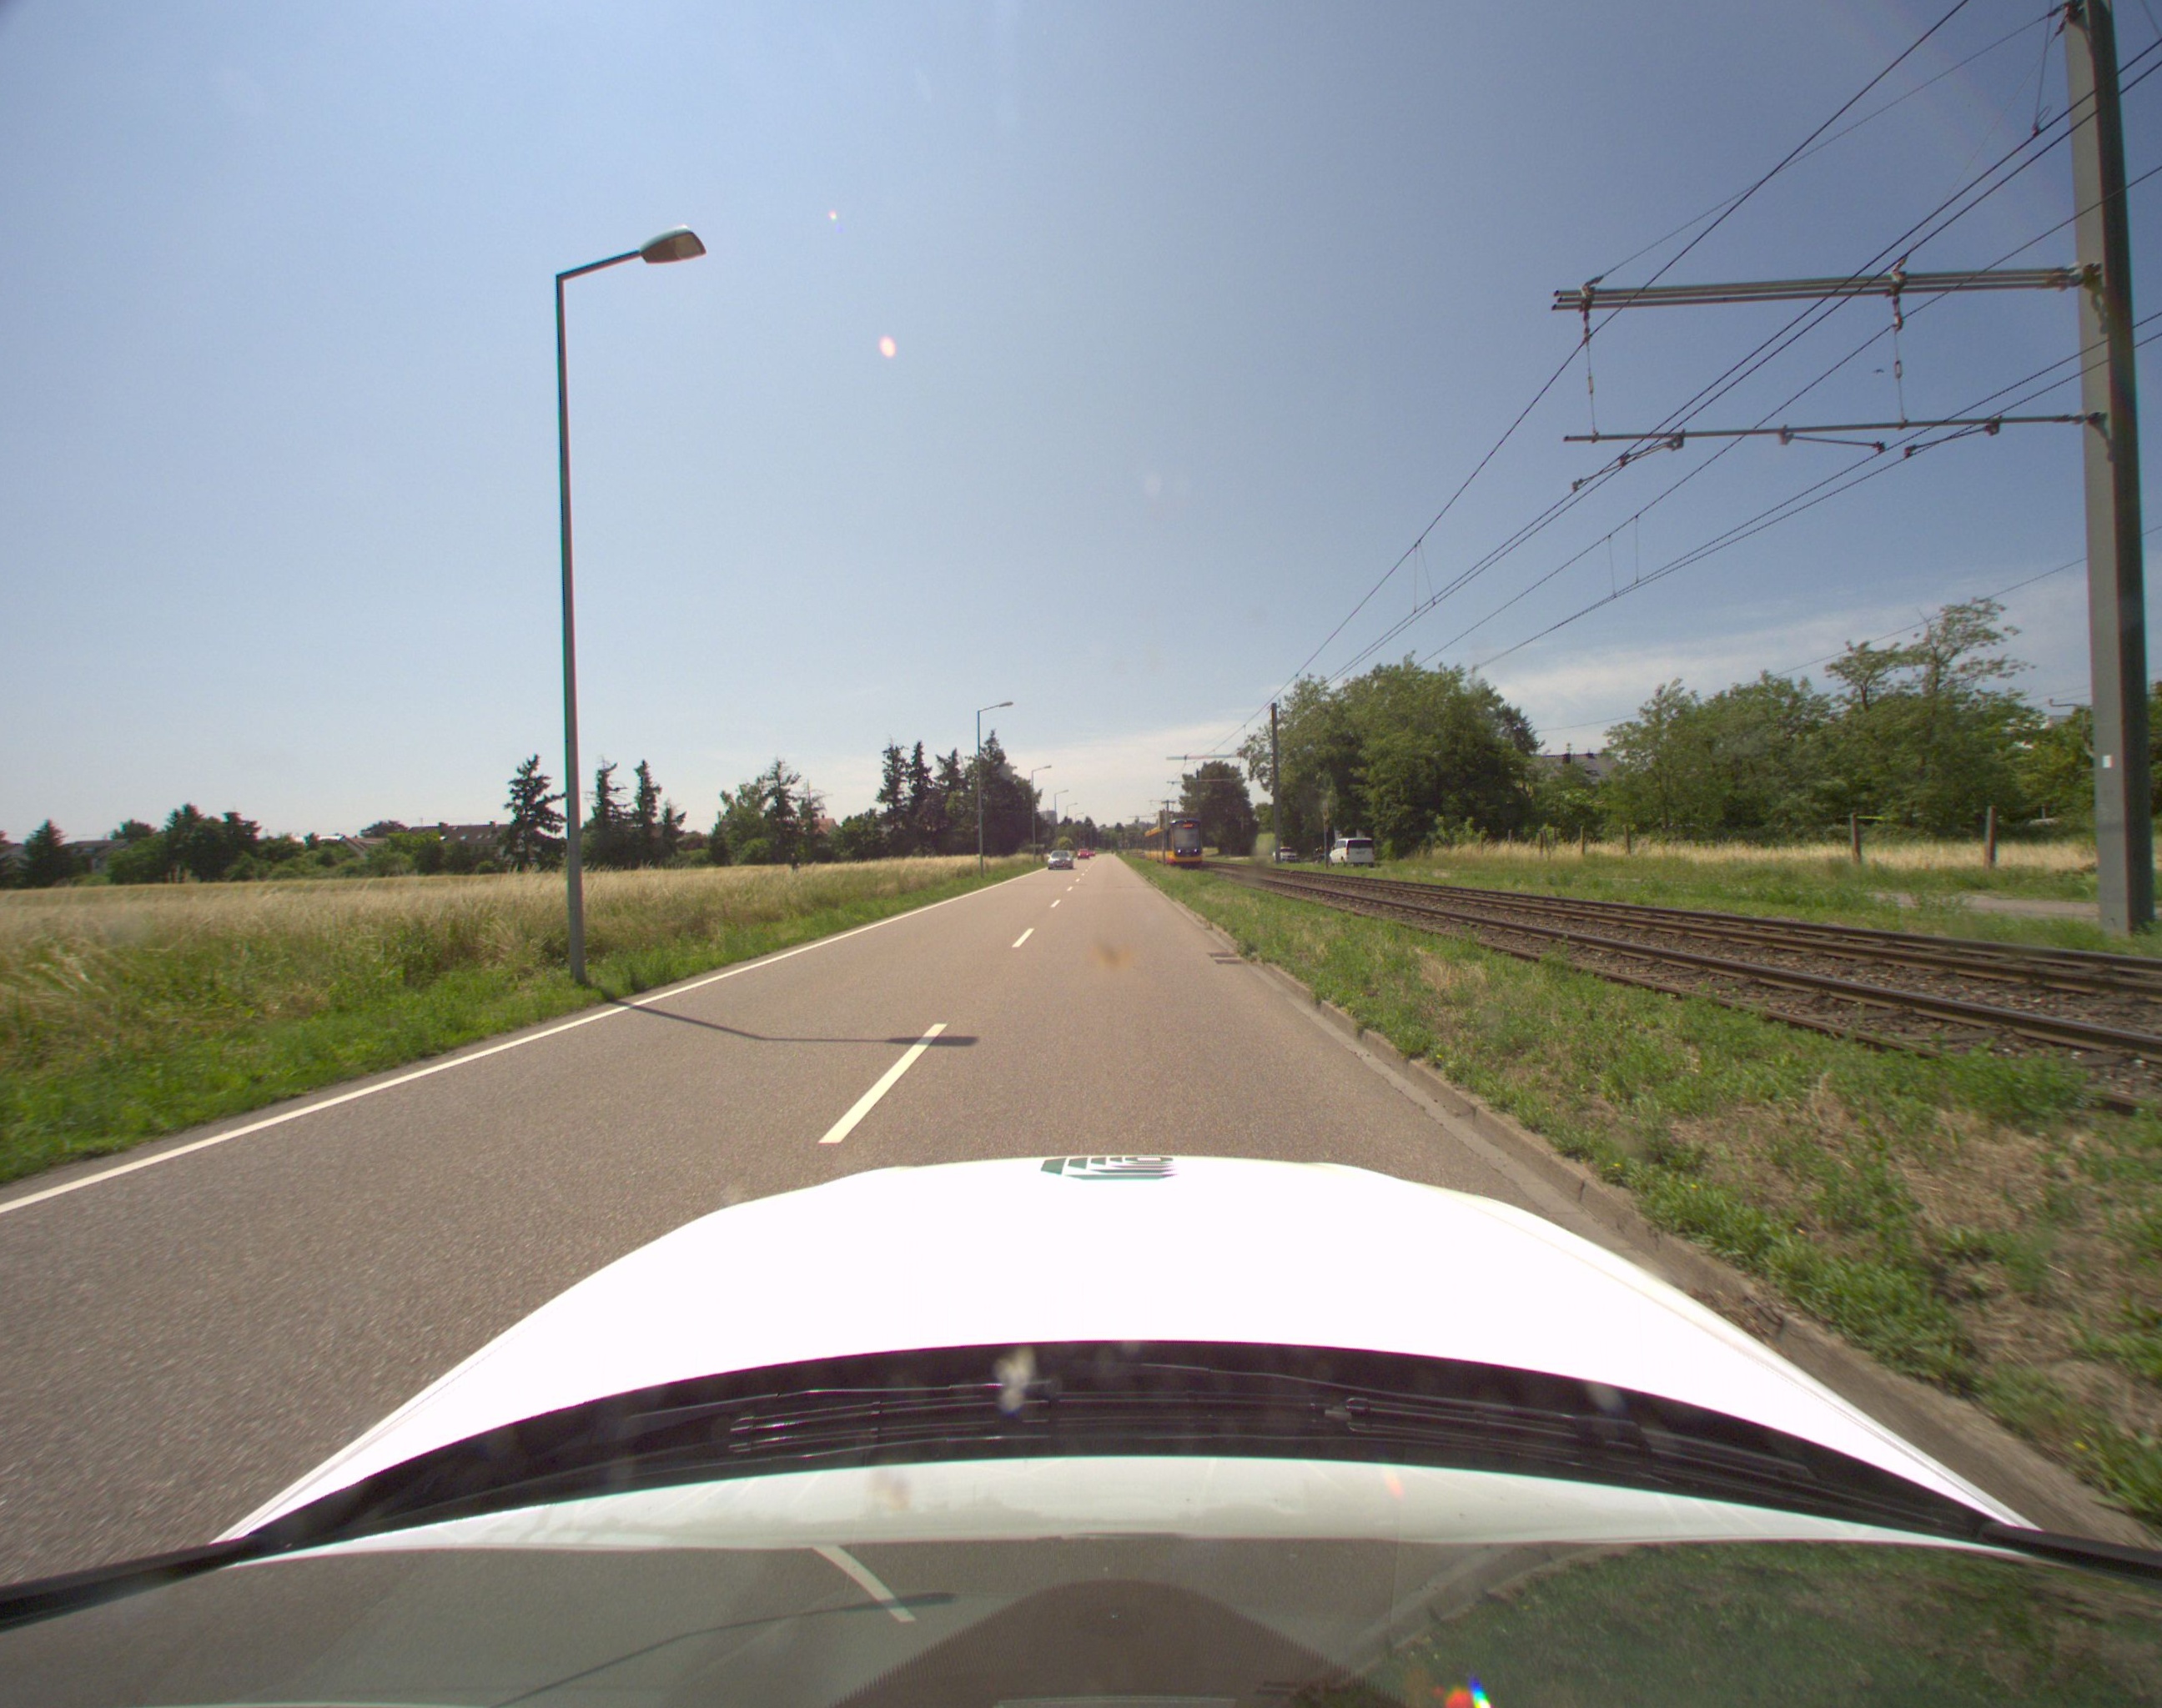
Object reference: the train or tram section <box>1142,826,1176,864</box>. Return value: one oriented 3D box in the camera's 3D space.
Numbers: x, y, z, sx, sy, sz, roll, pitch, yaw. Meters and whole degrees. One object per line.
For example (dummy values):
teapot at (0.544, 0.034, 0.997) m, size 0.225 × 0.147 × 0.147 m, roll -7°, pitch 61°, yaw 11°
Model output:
train or tram section at (8.222, -0.822, 87.248) m, size 2.755 × 3.689 × 11.190 m, roll -2°, pitch -1°, yaw 2°

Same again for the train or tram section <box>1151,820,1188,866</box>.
train or tram section at (7.711, -0.900, 71.518) m, size 2.551 × 3.713 × 6.731 m, roll -2°, pitch -1°, yaw 2°

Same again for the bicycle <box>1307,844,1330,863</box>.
bicycle at (18.946, -0.007, 64.982) m, size 0.924 × 1.430 × 3.387 m, roll -2°, pitch -1°, yaw 2°

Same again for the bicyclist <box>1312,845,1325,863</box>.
bicyclist at (18.835, -0.006, 64.586) m, size 0.699 × 1.338 × 0.904 m, roll -2°, pitch -1°, yaw 2°

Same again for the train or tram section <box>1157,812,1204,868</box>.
train or tram section at (7.453, -0.925, 62.323) m, size 2.420 × 3.766 × 11.563 m, roll -2°, pitch -1°, yaw 2°

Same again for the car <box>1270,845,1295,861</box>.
car at (18.084, -0.095, 73.115) m, size 1.423 × 1.308 × 3.467 m, roll -2°, pitch -1°, yaw 2°

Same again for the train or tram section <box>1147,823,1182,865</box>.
train or tram section at (7.961, -0.850, 78.237) m, size 2.691 × 3.766 × 6.731 m, roll -2°, pitch -1°, yaw 2°

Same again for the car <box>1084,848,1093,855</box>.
car at (1.501, -0.569, 162.962) m, size 1.800 × 1.285 × 4.287 m, roll -2°, pitch -1°, yaw 2°

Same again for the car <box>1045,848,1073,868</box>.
car at (-1.704, 0.359, 64.053) m, size 1.827 × 1.467 × 4.680 m, roll -2°, pitch -1°, yaw 2°

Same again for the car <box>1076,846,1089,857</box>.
car at (0.256, -0.368, 115.568) m, size 1.639 × 1.400 × 3.846 m, roll -2°, pitch -1°, yaw 2°

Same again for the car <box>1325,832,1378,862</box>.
car at (17.835, -0.438, 53.988) m, size 1.986 × 1.802 × 4.796 m, roll -2°, pitch -1°, yaw 2°
